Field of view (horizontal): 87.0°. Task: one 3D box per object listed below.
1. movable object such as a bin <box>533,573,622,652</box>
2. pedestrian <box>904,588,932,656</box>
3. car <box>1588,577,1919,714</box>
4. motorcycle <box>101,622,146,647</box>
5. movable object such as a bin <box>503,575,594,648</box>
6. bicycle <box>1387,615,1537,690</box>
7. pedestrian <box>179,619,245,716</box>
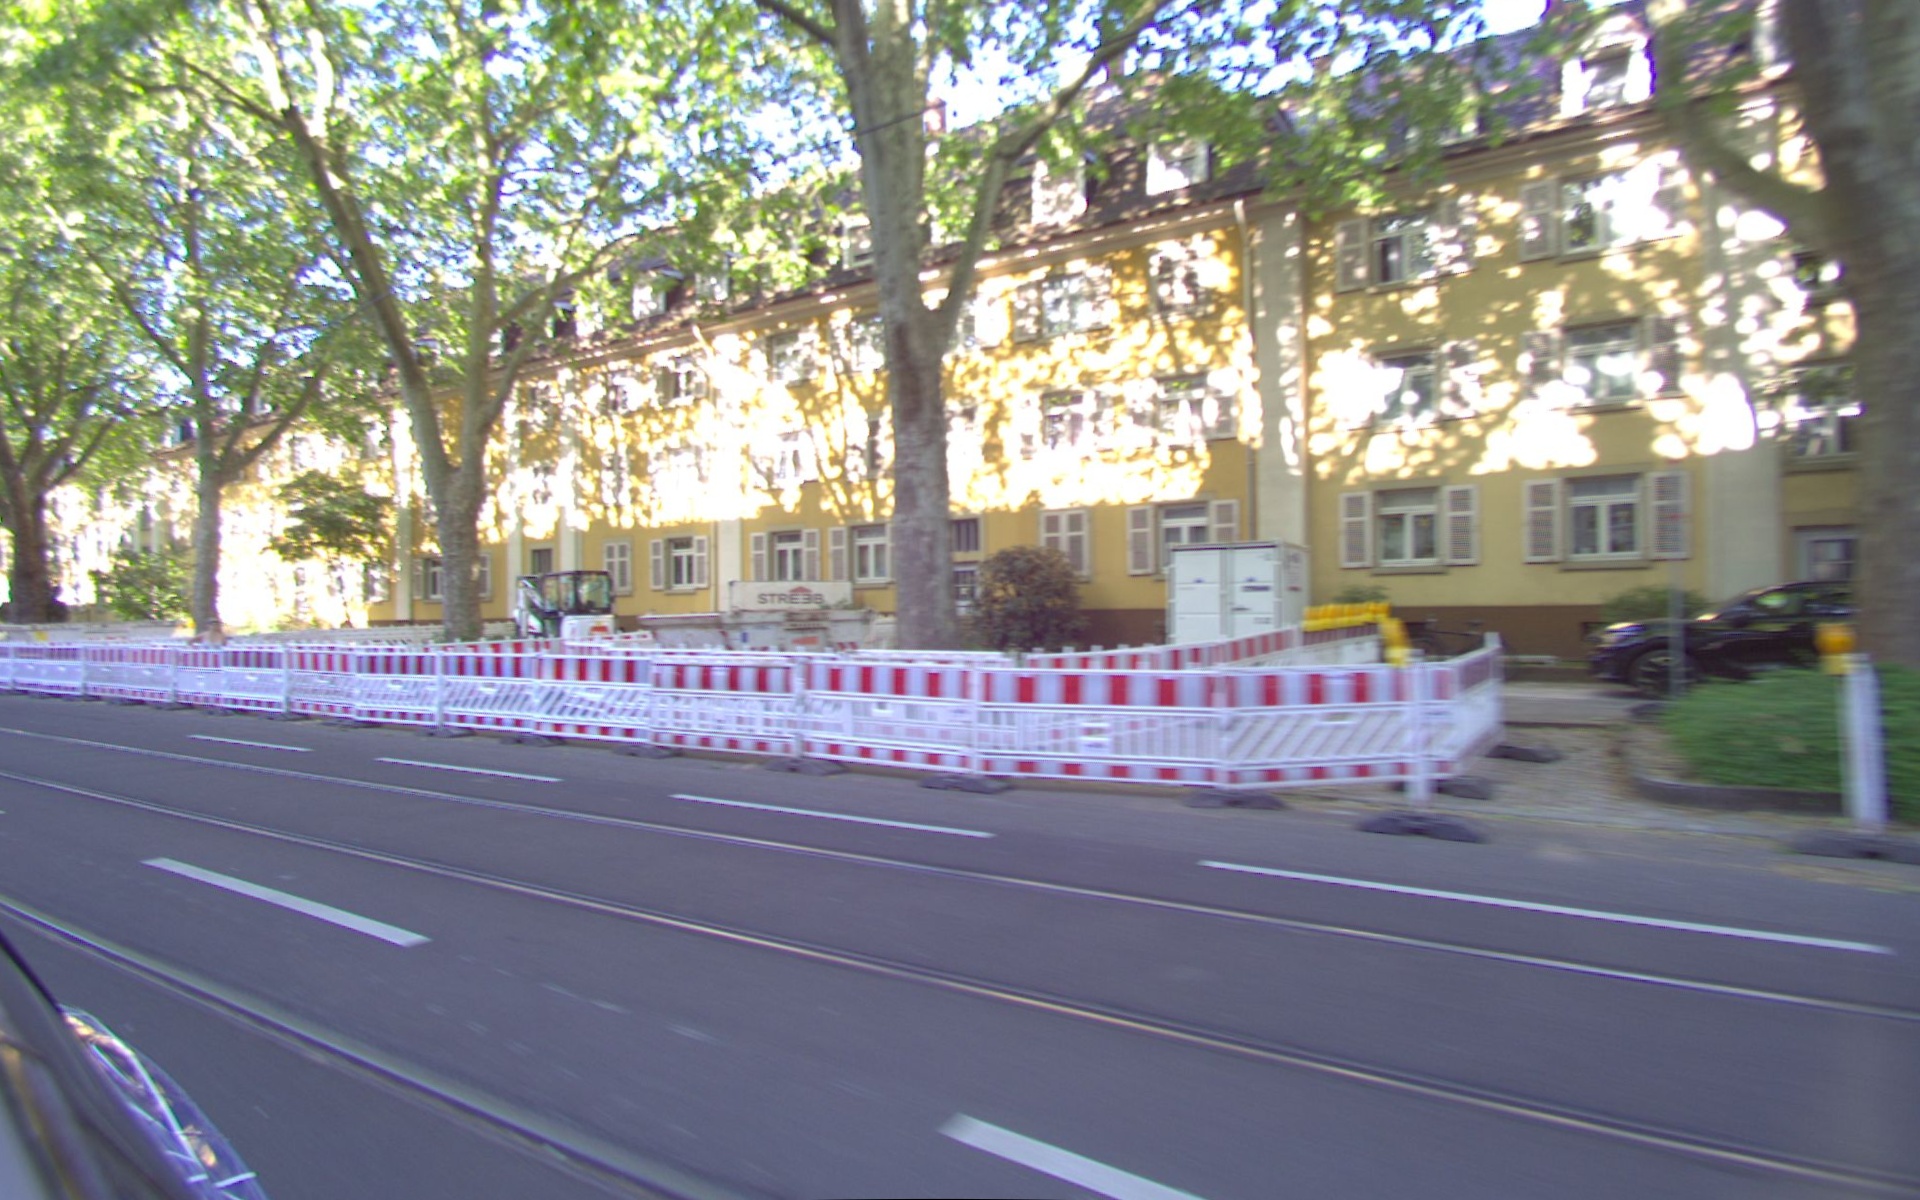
[{"bbox_3d":[-8.348,0.263,22.090,1.554,1.658,1.089,-1,0,32],"label":"movable object such as a bin"},{"bbox_3d":[-1.066,0.556,25.296,0.662,1.669,0.674,-1,-1,-4],"label":"pedestrian"},{"bbox_3d":[10.823,0.535,13.011,4.512,1.583,1.773,-2,0,37],"label":"car"},{"bbox_3d":[-43.200,1.781,52.286,0.521,1.250,1.696,-2,-2,33],"label":"motorcycle"},{"bbox_3d":[-11.042,0.316,27.149,2.001,1.883,1.323,-1,0,32],"label":"movable object such as a bin"},{"bbox_3d":[8.161,0.836,16.497,2.108,1.149,0.620,-2,-2,36],"label":"bicycle"},{"bbox_3d":[-13.439,1.189,18.183,0.776,1.682,0.711,-1,0,33],"label":"pedestrian"}]
